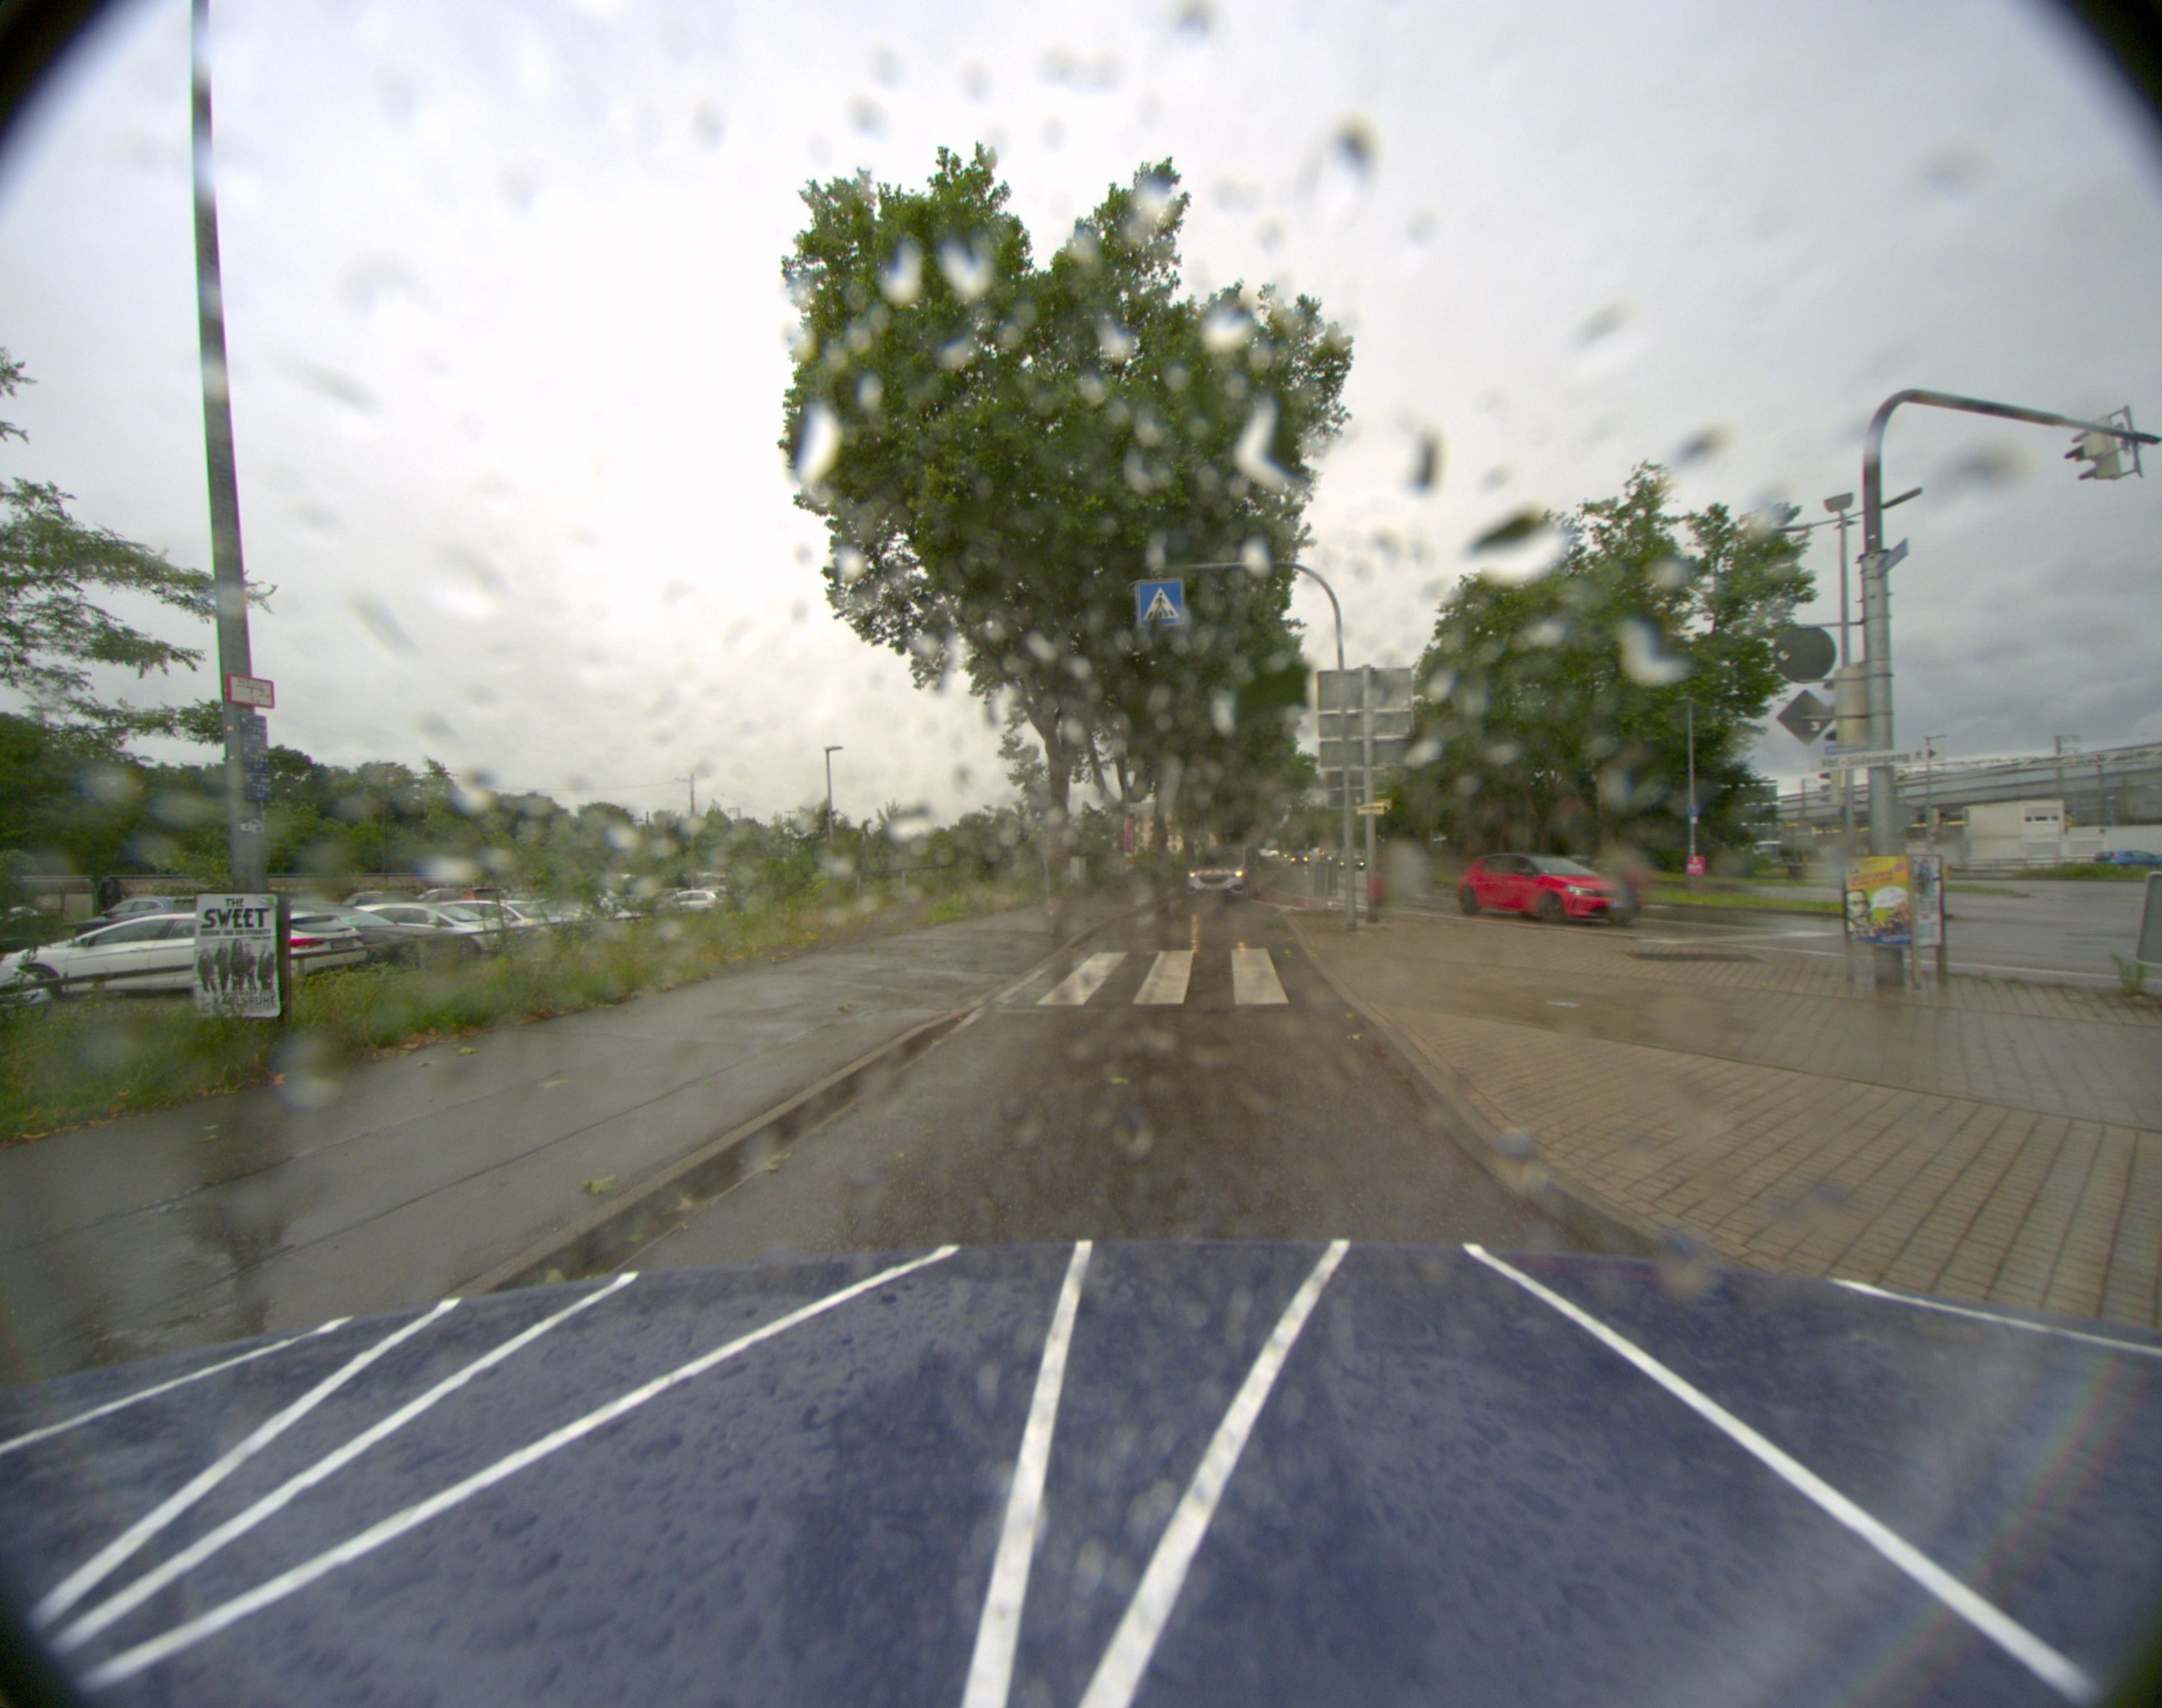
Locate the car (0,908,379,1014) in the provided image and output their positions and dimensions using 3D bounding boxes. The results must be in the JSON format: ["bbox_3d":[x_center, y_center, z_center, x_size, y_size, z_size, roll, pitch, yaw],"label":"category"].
[{"bbox_3d":[-16.058,1.851,13.724,4.647,1.475,1.874,-1,0,-11],"label":"car"}]

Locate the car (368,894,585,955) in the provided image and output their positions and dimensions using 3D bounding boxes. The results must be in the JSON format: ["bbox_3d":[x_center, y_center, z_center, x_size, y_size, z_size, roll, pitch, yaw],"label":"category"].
[{"bbox_3d":[-17.445,2.009,22.153,4.546,1.457,2.002,-1,0,-6],"label":"car"}]

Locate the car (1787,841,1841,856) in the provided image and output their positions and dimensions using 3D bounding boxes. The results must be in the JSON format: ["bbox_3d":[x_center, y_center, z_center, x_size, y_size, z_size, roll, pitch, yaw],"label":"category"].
[{"bbox_3d":[82.546,-0.650,85.646,3.992,1.599,1.789,-2,0,16],"label":"car"}]

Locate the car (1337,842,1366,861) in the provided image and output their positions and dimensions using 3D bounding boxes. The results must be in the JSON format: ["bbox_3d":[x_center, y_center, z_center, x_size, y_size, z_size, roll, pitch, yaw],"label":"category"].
[{"bbox_3d":[20.461,-0.165,57.638,1.741,1.373,4.005,0,0,15],"label":"car"}]

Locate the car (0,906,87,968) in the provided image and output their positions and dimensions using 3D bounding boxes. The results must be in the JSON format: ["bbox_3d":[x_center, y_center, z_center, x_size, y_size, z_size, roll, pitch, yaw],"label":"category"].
[{"bbox_3d":[-29.093,2.187,20.224,3.991,1.465,1.963,-1,0,18],"label":"car"}]

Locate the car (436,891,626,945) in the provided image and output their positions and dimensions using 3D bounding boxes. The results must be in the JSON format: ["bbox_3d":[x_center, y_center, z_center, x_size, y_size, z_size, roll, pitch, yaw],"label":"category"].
[{"bbox_3d":[-17.550,2.006,24.470,4.547,1.421,1.874,-1,0,-11],"label":"car"}]

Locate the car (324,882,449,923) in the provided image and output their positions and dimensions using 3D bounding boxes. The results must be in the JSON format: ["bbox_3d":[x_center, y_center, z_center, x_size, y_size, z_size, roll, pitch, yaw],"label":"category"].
[{"bbox_3d":[-26.914,1.864,29.478,3.991,1.429,1.820,-1,0,18],"label":"car"}]

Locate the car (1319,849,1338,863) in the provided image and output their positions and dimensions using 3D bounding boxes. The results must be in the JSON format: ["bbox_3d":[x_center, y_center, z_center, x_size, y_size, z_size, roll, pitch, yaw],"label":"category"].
[{"bbox_3d":[23.889,0.171,73.328,1.642,1.346,3.780,-1,0,17],"label":"car"}]

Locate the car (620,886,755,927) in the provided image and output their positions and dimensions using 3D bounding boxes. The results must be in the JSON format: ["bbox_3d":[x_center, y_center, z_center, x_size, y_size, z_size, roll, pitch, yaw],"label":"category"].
[{"bbox_3d":[-15.724,2.076,30.525,4.393,1.421,1.876,-1,0,0],"label":"car"}]

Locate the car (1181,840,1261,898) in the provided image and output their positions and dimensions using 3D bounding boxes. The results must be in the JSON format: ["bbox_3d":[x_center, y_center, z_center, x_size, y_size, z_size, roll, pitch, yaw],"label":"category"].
[{"bbox_3d":[4.639,0.438,24.671,1.836,1.714,4.178,-1,0,20],"label":"car"}]

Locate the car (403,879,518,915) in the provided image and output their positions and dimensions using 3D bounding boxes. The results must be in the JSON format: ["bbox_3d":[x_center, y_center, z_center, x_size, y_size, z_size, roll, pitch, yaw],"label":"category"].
[{"bbox_3d":[-26.029,1.796,31.901,3.991,1.368,1.820,-1,0,18],"label":"car"}]

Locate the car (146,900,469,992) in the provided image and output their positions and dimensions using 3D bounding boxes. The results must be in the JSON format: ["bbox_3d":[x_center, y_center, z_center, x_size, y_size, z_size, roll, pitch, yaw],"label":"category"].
[{"bbox_3d":[-16.303,1.898,16.296,4.547,1.550,1.874,-1,0,-11],"label":"car"}]

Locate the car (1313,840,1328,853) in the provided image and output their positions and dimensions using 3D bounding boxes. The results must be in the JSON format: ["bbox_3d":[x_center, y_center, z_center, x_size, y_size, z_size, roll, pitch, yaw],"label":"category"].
[{"bbox_3d":[32.400,-0.976,102.666,1.851,1.593,4.506,0,0,17],"label":"car"}]

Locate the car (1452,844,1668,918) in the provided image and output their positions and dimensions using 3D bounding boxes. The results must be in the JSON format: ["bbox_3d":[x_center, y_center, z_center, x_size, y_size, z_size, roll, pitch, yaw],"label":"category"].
[{"bbox_3d":[10.019,0.513,16.318,1.745,1.373,3.997,-1,0,-9],"label":"car"}]

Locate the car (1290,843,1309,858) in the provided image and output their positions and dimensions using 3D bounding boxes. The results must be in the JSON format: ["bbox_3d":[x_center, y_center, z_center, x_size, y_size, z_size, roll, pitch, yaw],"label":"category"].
[{"bbox_3d":[21.518,-0.310,74.765,1.741,1.437,4.005,0,0,17],"label":"car"}]

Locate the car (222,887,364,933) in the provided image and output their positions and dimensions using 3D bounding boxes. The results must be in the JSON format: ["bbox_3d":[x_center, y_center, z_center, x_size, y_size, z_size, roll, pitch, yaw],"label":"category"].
[{"bbox_3d":[-27.396,1.918,26.430,3.991,1.429,1.820,-1,0,18],"label":"car"}]

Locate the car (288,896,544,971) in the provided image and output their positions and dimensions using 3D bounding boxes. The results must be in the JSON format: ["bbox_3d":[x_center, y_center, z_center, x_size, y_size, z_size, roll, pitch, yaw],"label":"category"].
[{"bbox_3d":[-16.753,1.964,19.406,4.547,1.550,1.874,-1,0,-11],"label":"car"}]

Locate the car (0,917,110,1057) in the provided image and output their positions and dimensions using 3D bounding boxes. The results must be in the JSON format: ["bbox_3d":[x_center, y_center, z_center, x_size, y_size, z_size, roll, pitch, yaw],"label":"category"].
[{"bbox_3d":[-14.454,1.625,8.575,4.001,1.514,1.874,-1,0,-11],"label":"car"}]

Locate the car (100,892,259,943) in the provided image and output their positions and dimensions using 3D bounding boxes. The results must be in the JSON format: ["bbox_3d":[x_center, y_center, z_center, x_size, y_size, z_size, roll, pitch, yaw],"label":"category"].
[{"bbox_3d":[-28.332,1.955,23.903,3.991,1.429,1.820,-1,0,18],"label":"car"}]

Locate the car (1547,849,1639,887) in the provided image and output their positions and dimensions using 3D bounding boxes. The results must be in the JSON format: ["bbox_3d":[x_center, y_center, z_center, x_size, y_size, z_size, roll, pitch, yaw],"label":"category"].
[{"bbox_3d":[23.566,0.615,35.144,1.997,1.632,4.003,-1,0,9],"label":"car"}]

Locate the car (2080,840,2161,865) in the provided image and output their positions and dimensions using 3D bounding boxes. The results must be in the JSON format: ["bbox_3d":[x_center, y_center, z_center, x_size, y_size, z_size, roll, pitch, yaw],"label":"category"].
[{"bbox_3d":[73.218,-0.118,52.979,3.992,1.599,1.789,-2,0,18],"label":"car"}]
